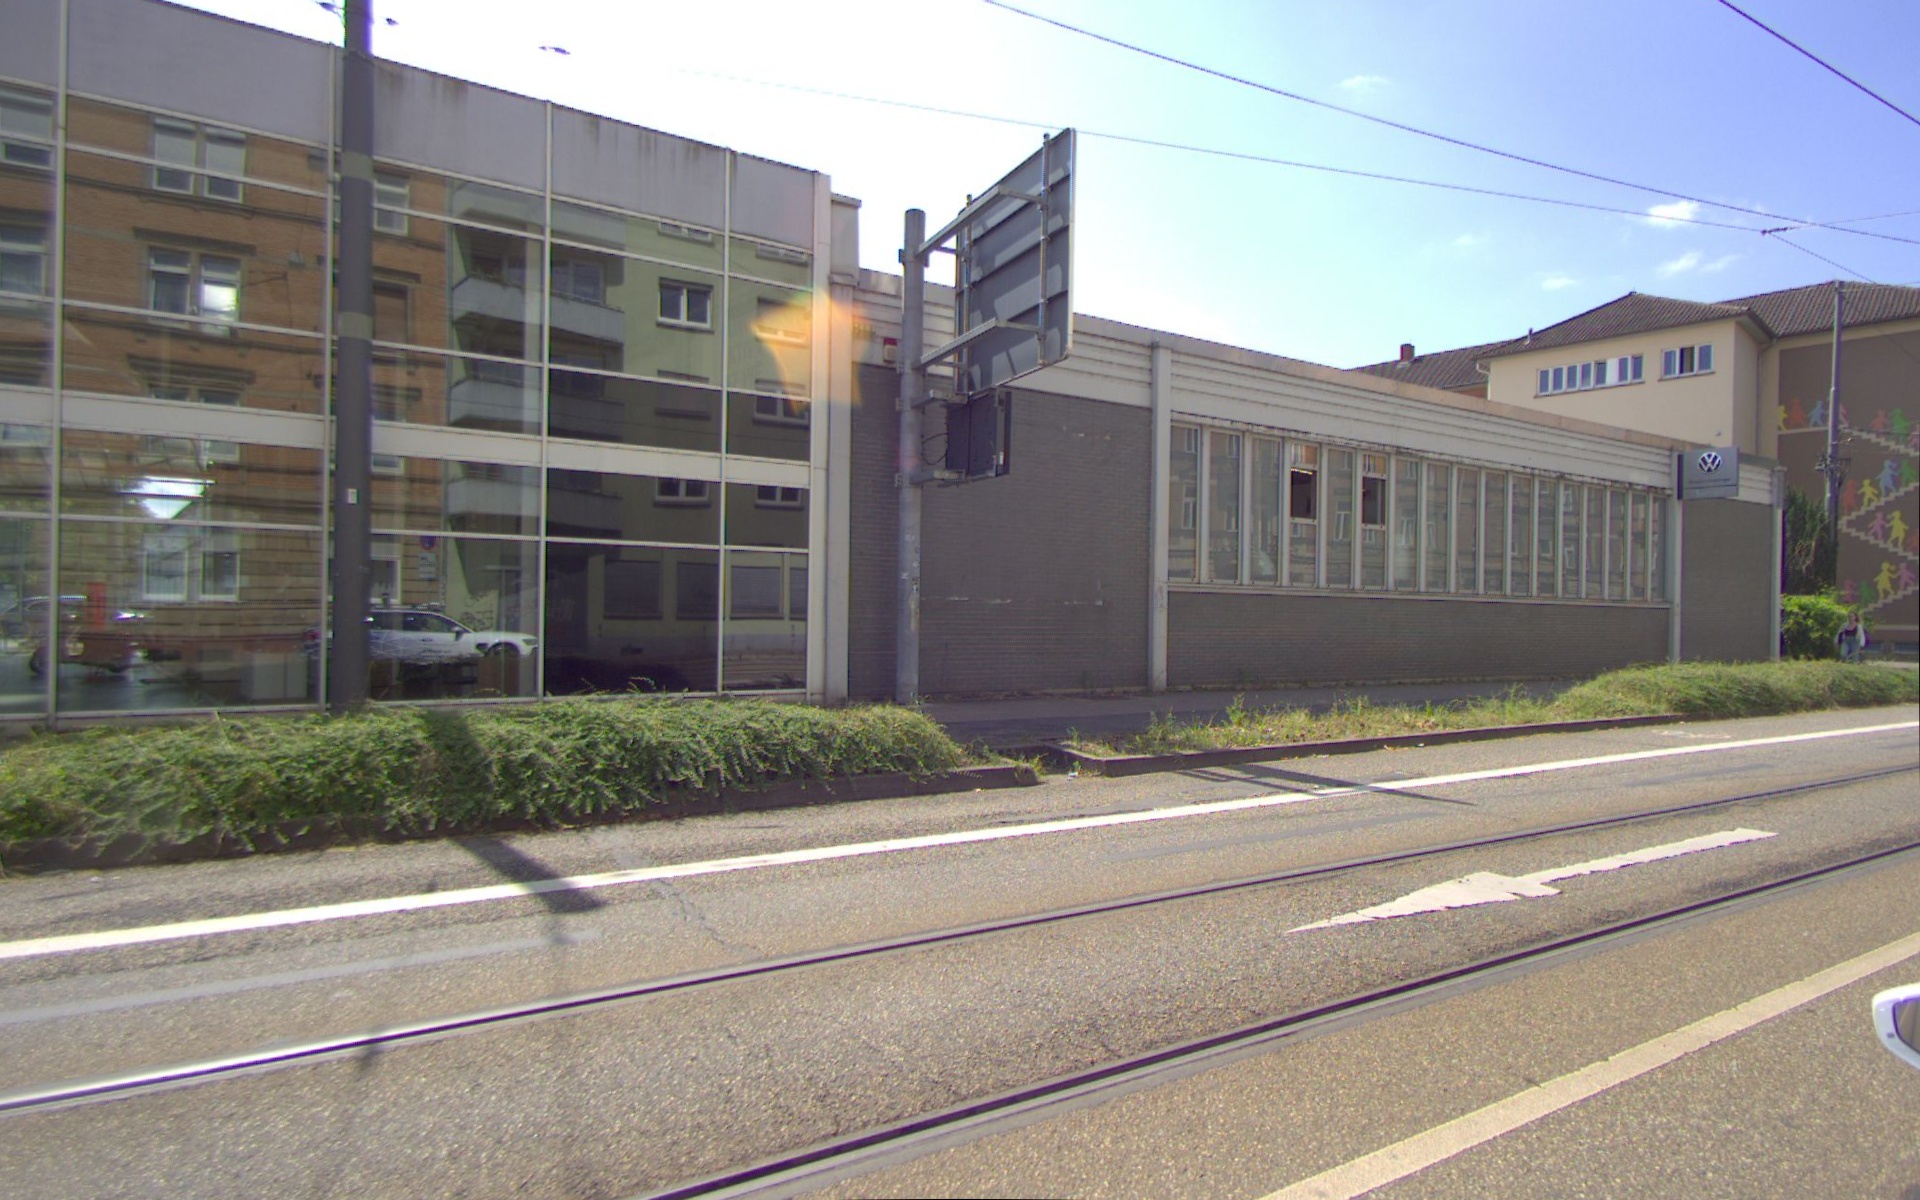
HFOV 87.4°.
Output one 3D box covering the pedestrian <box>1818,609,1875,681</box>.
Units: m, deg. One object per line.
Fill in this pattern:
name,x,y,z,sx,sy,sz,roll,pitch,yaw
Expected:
pedestrian,23.892,1.201,27.075,1.068,1.890,0.876,1,-1,-30
